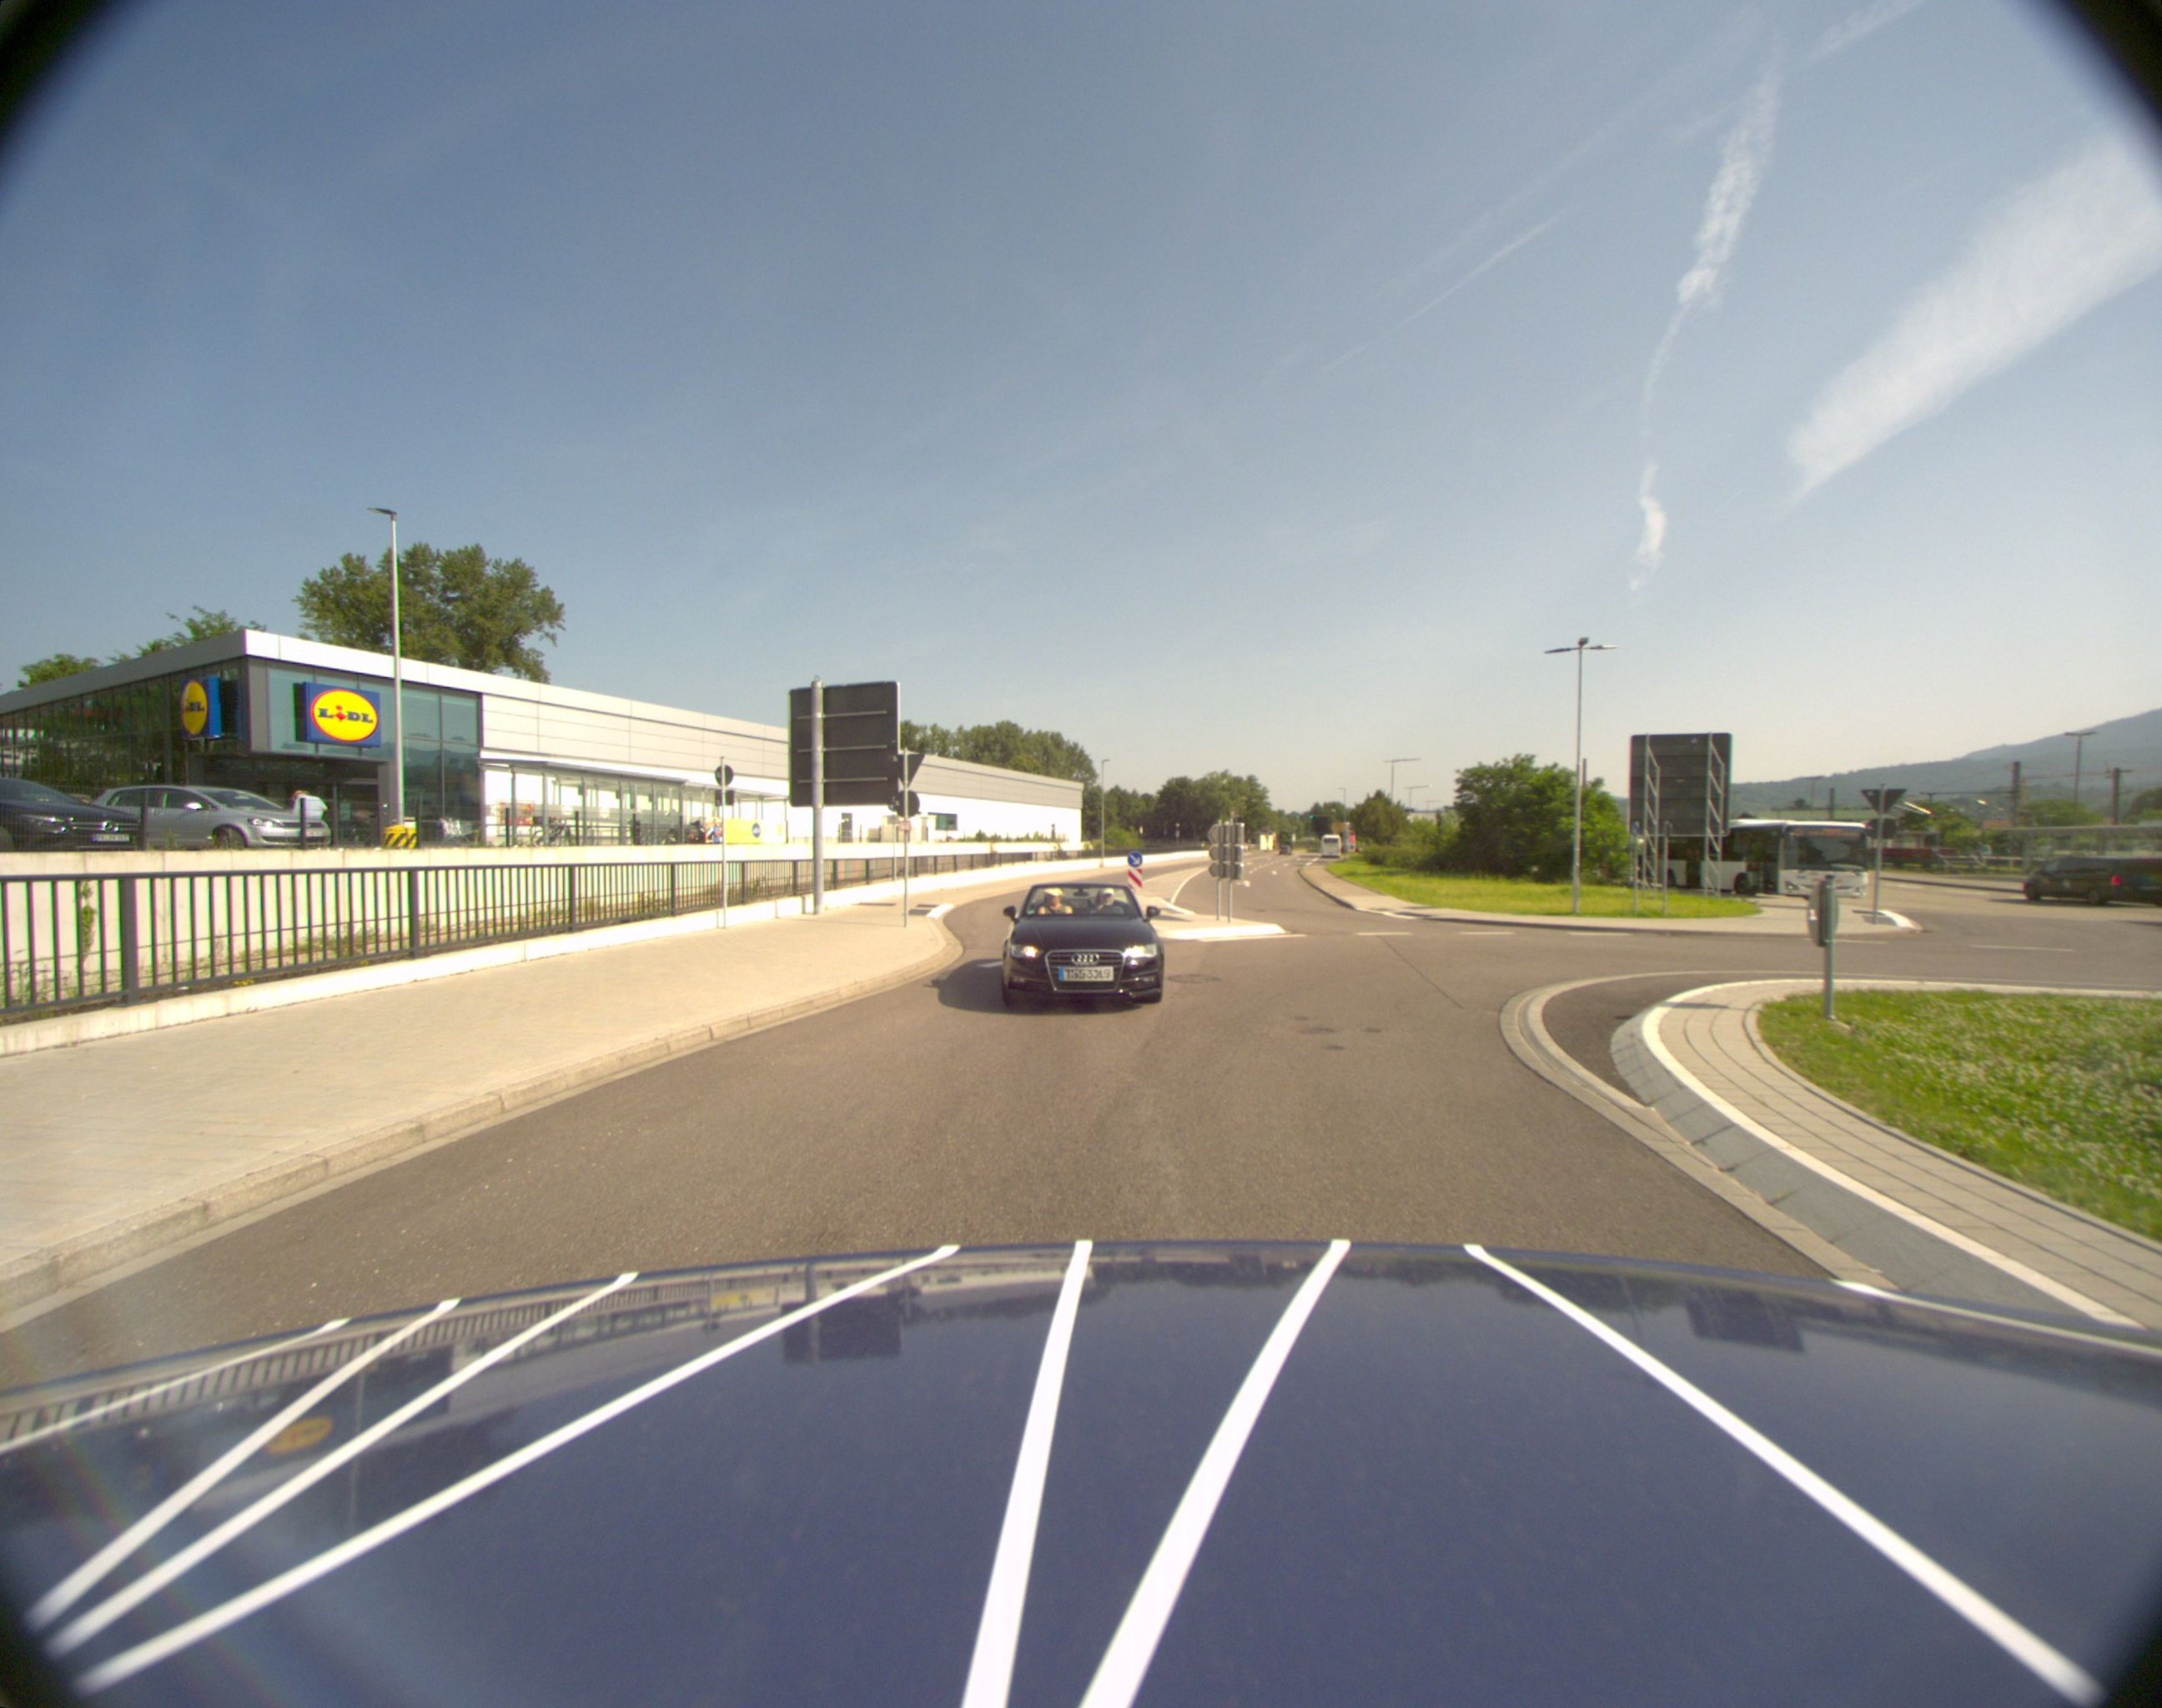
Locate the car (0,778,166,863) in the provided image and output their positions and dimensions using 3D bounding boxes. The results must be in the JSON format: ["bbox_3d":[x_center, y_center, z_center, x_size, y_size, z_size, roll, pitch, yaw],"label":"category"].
[{"bbox_3d":[-19.005,-0.585,13.363,4.071,1.396,1.486,1,1,1],"label":"car"}]

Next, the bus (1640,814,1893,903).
[{"bbox_3d":[28.542,0.085,32.755,3.068,3.105,11.733,1,1,15],"label":"bus"}]

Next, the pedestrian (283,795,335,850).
[{"bbox_3d":[-18.571,-0.754,18.298,0.548,1.305,0.656,1,2,3],"label":"pedestrian"}]

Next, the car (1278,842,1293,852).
[{"bbox_3d":[32.268,-1.100,119.873,1.774,1.465,4.225,2,2,20],"label":"car"}]

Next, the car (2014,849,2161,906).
[{"bbox_3d":[39.161,0.822,29.359,1.841,1.935,4.889,2,2,24],"label":"car"}]

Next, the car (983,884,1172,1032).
[{"bbox_3d":[-0.028,1.117,9.666,1.869,1.322,4.232,1,0,0],"label":"car"}]

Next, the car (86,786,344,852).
[{"bbox_3d":[-19.109,-0.754,16.887,3.815,1.356,1.680,1,1,1],"label":"car"}]

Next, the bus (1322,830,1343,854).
[{"bbox_3d":[36.787,-1.810,111.085,2.623,3.291,11.971,2,2,19],"label":"bus"}]
